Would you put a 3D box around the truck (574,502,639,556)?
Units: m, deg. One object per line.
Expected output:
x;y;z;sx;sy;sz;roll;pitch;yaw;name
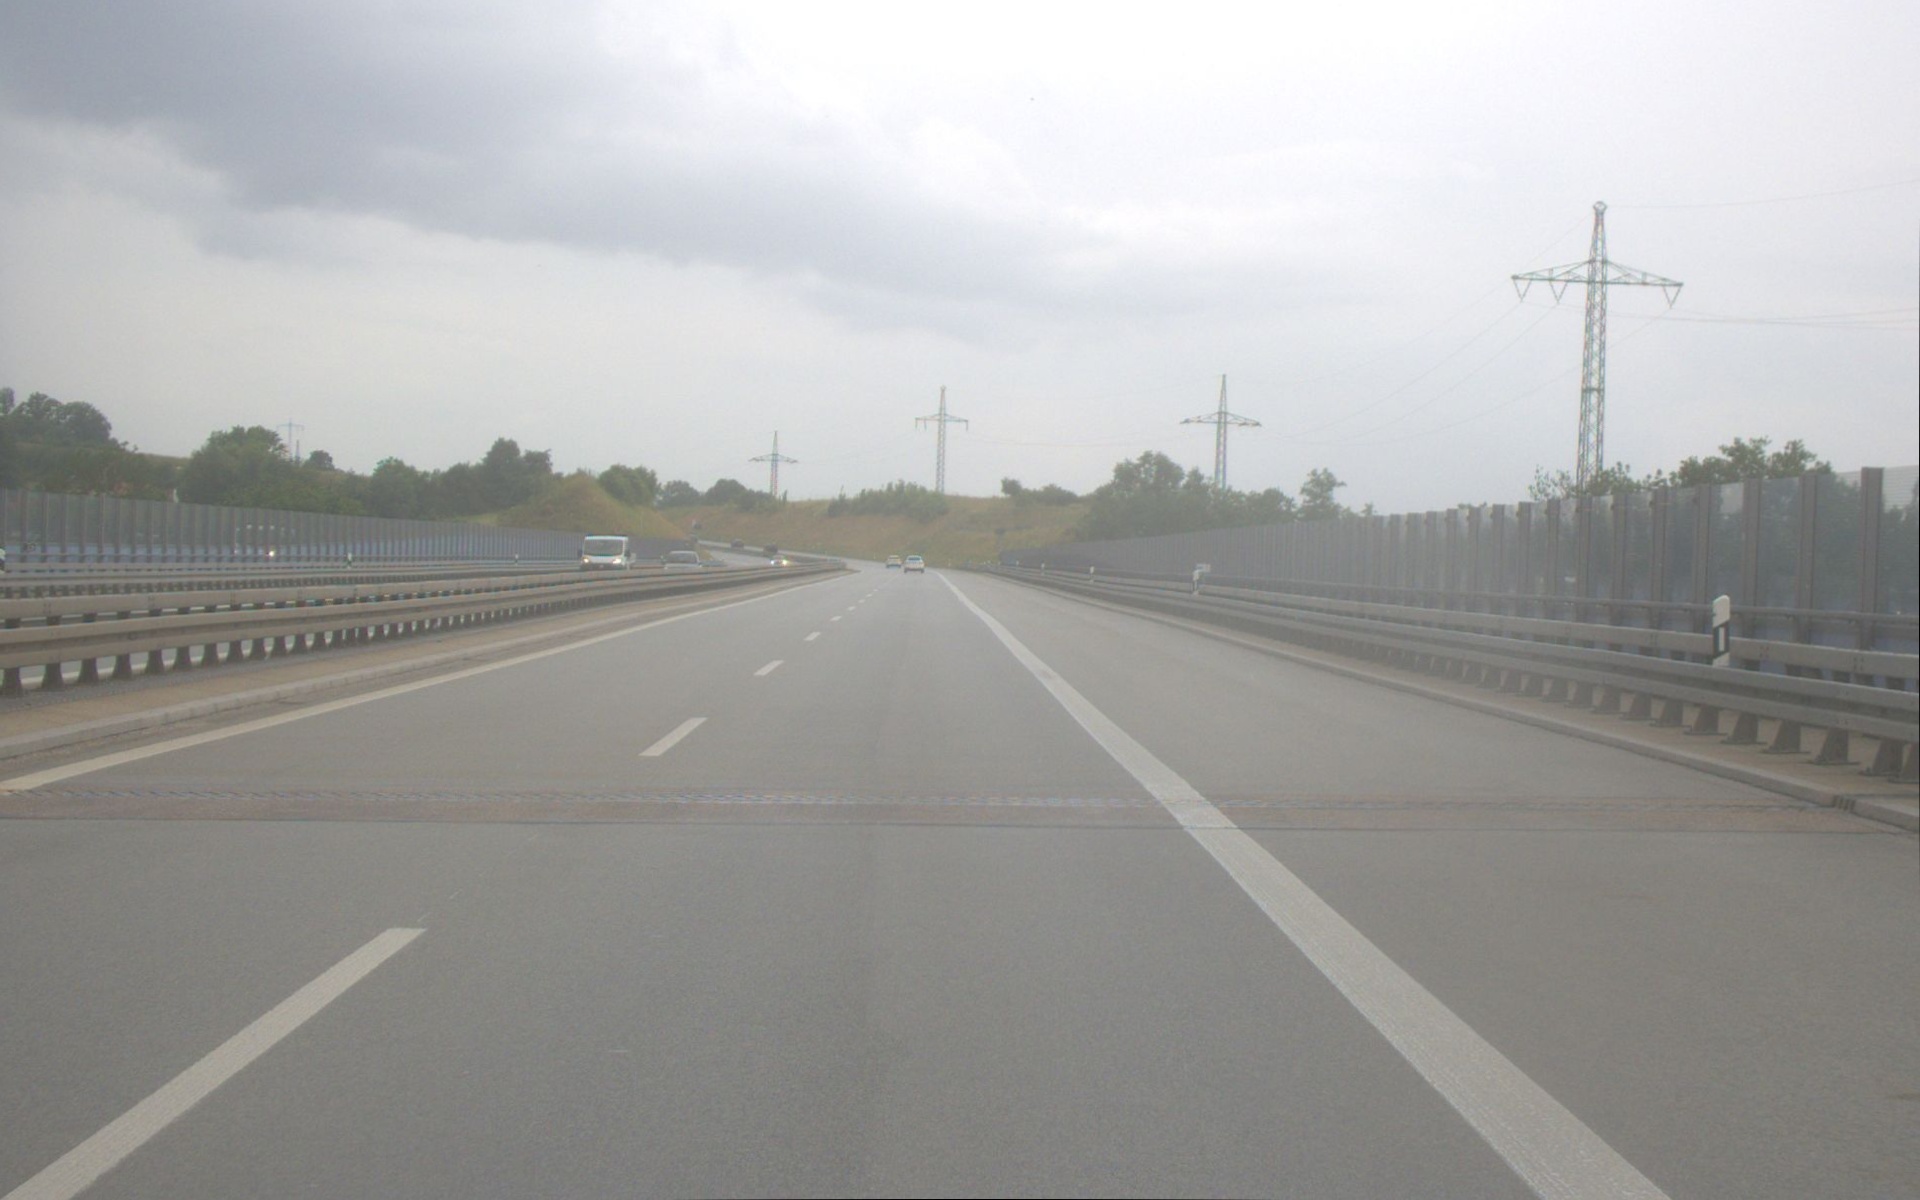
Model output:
-16.397;-3.282;159.917;2.272;2.423;7.452;1;1;0;truck
